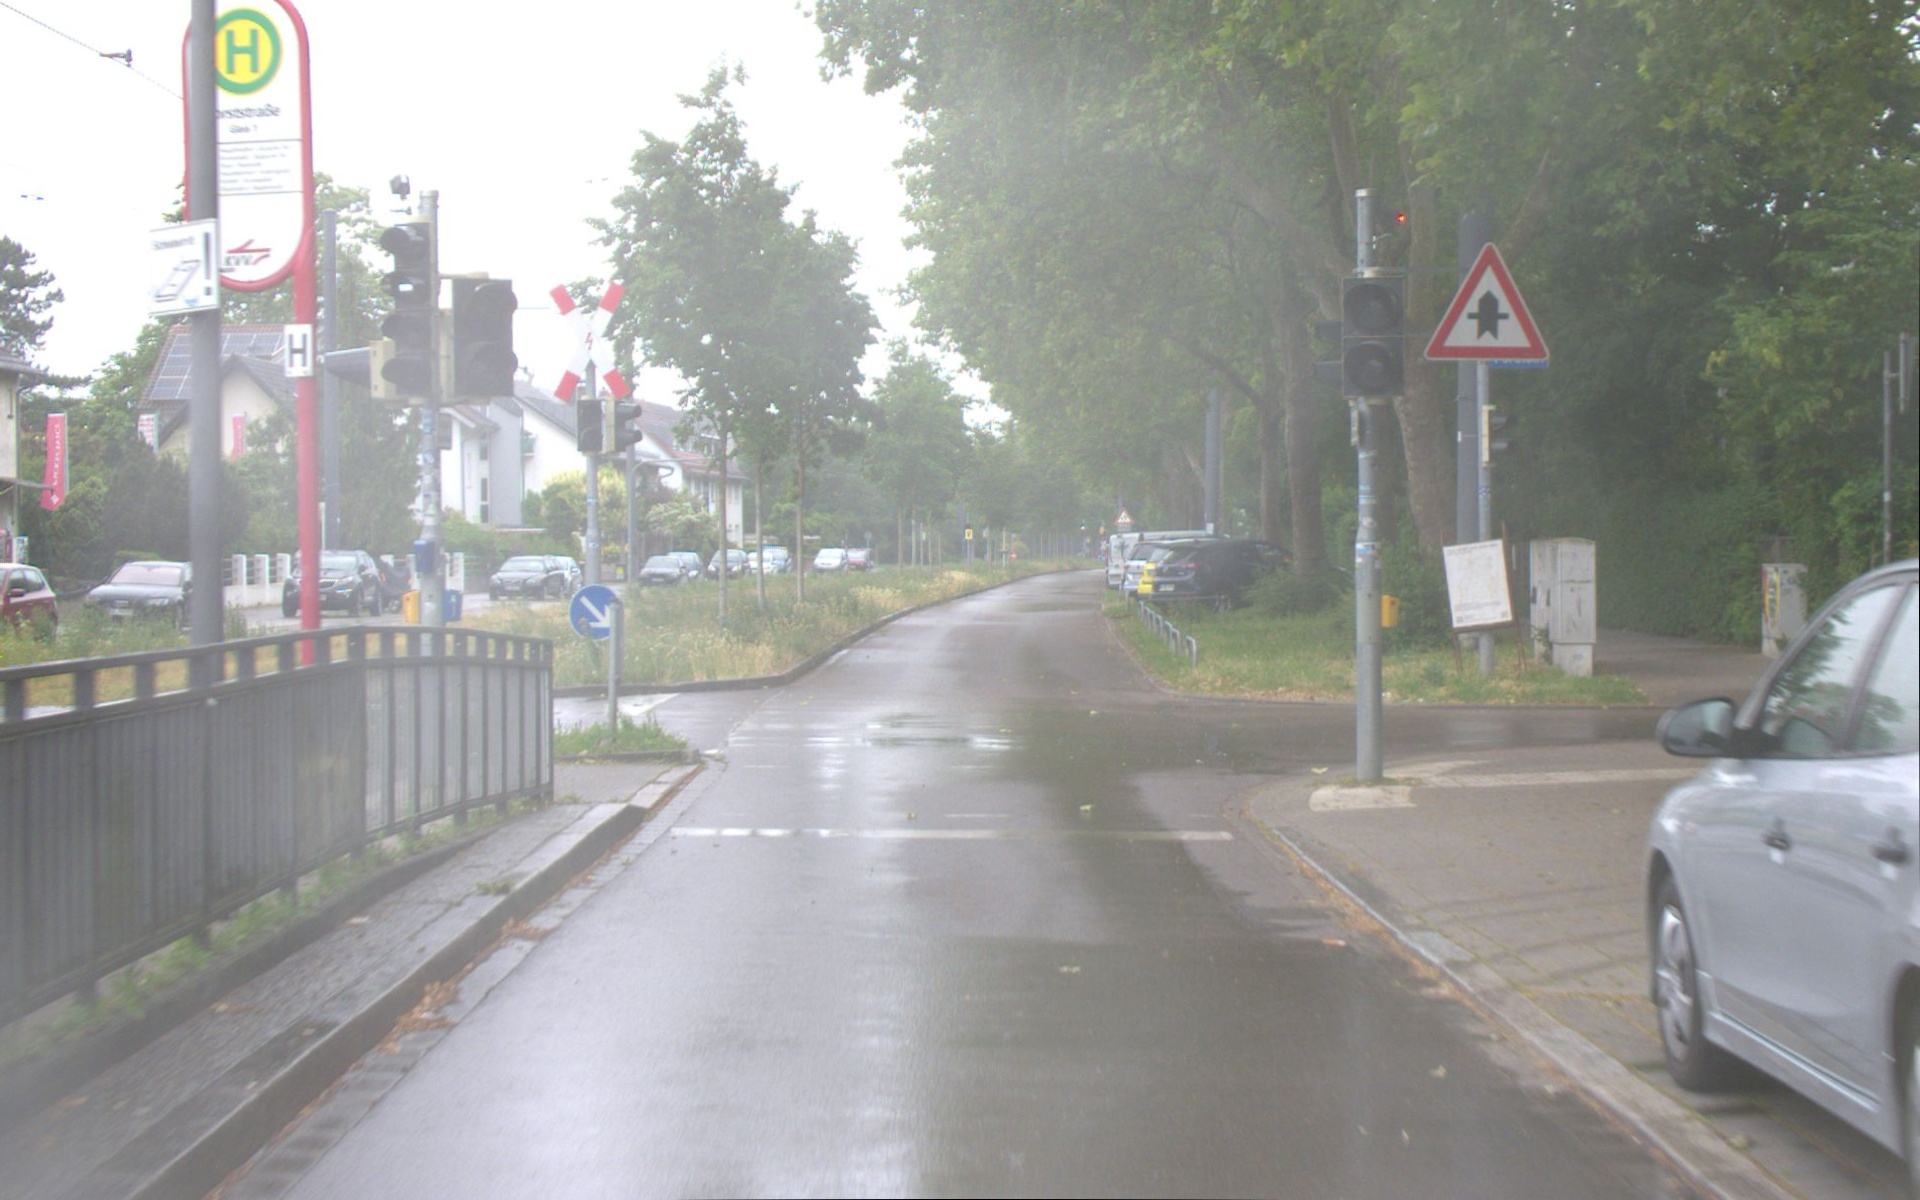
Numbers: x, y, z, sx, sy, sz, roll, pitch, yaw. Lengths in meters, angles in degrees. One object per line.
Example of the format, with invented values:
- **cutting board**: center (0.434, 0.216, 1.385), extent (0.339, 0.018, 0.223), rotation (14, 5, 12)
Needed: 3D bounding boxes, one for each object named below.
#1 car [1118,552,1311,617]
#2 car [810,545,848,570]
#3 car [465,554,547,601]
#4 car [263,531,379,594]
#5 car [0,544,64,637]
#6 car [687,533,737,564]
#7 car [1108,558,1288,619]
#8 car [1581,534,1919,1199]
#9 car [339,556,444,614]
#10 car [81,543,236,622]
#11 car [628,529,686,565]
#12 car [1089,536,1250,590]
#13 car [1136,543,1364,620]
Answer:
- **car**: center (5.856, -0.347, 79.188), extent (3.986, 1.448, 2.001), rotation (0, 0, -14)
- **car**: center (-7.971, -2.574, 209.604), extent (1.928, 1.481, 4.000), rotation (0, 0, 3)
- **car**: center (-14.622, -0.715, 110.921), extent (1.928, 1.481, 4.000), rotation (0, 0, 3)
- **car**: center (-15.619, -0.905, 84.210), extent (1.928, 1.481, 4.000), rotation (0, 0, 3)
- **car**: center (-16.267, -0.167, 56.396), extent (1.928, 1.481, 4.000), rotation (0, 0, 3)
- **car**: center (-12.081, -2.503, 167.613), extent (1.928, 1.481, 4.000), rotation (0, 0, 3)
- **car**: center (5.852, -0.283, 84.702), extent (3.986, 1.448, 2.001), rotation (0, 0, -14)
- **car**: center (2.711, 0.555, 7.841), extent (1.807, 1.462, 3.794), rotation (-4, 0, 0)
- **car**: center (-15.000, -0.400, 90.876), extent (1.928, 1.481, 4.000), rotation (0, 0, 3)
- **car**: center (-15.636, -0.341, 67.295), extent (1.928, 1.481, 4.000), rotation (0, 0, 3)
- **car**: center (-12.788, -2.232, 145.345), extent (1.928, 1.481, 4.000), rotation (0, 0, 3)
- **car**: center (5.778, -1.006, 94.917), extent (3.986, 1.448, 2.001), rotation (0, 0, -14)
- **car**: center (5.629, -0.348, 66.916), extent (3.986, 1.448, 2.001), rotation (0, 0, -14)
